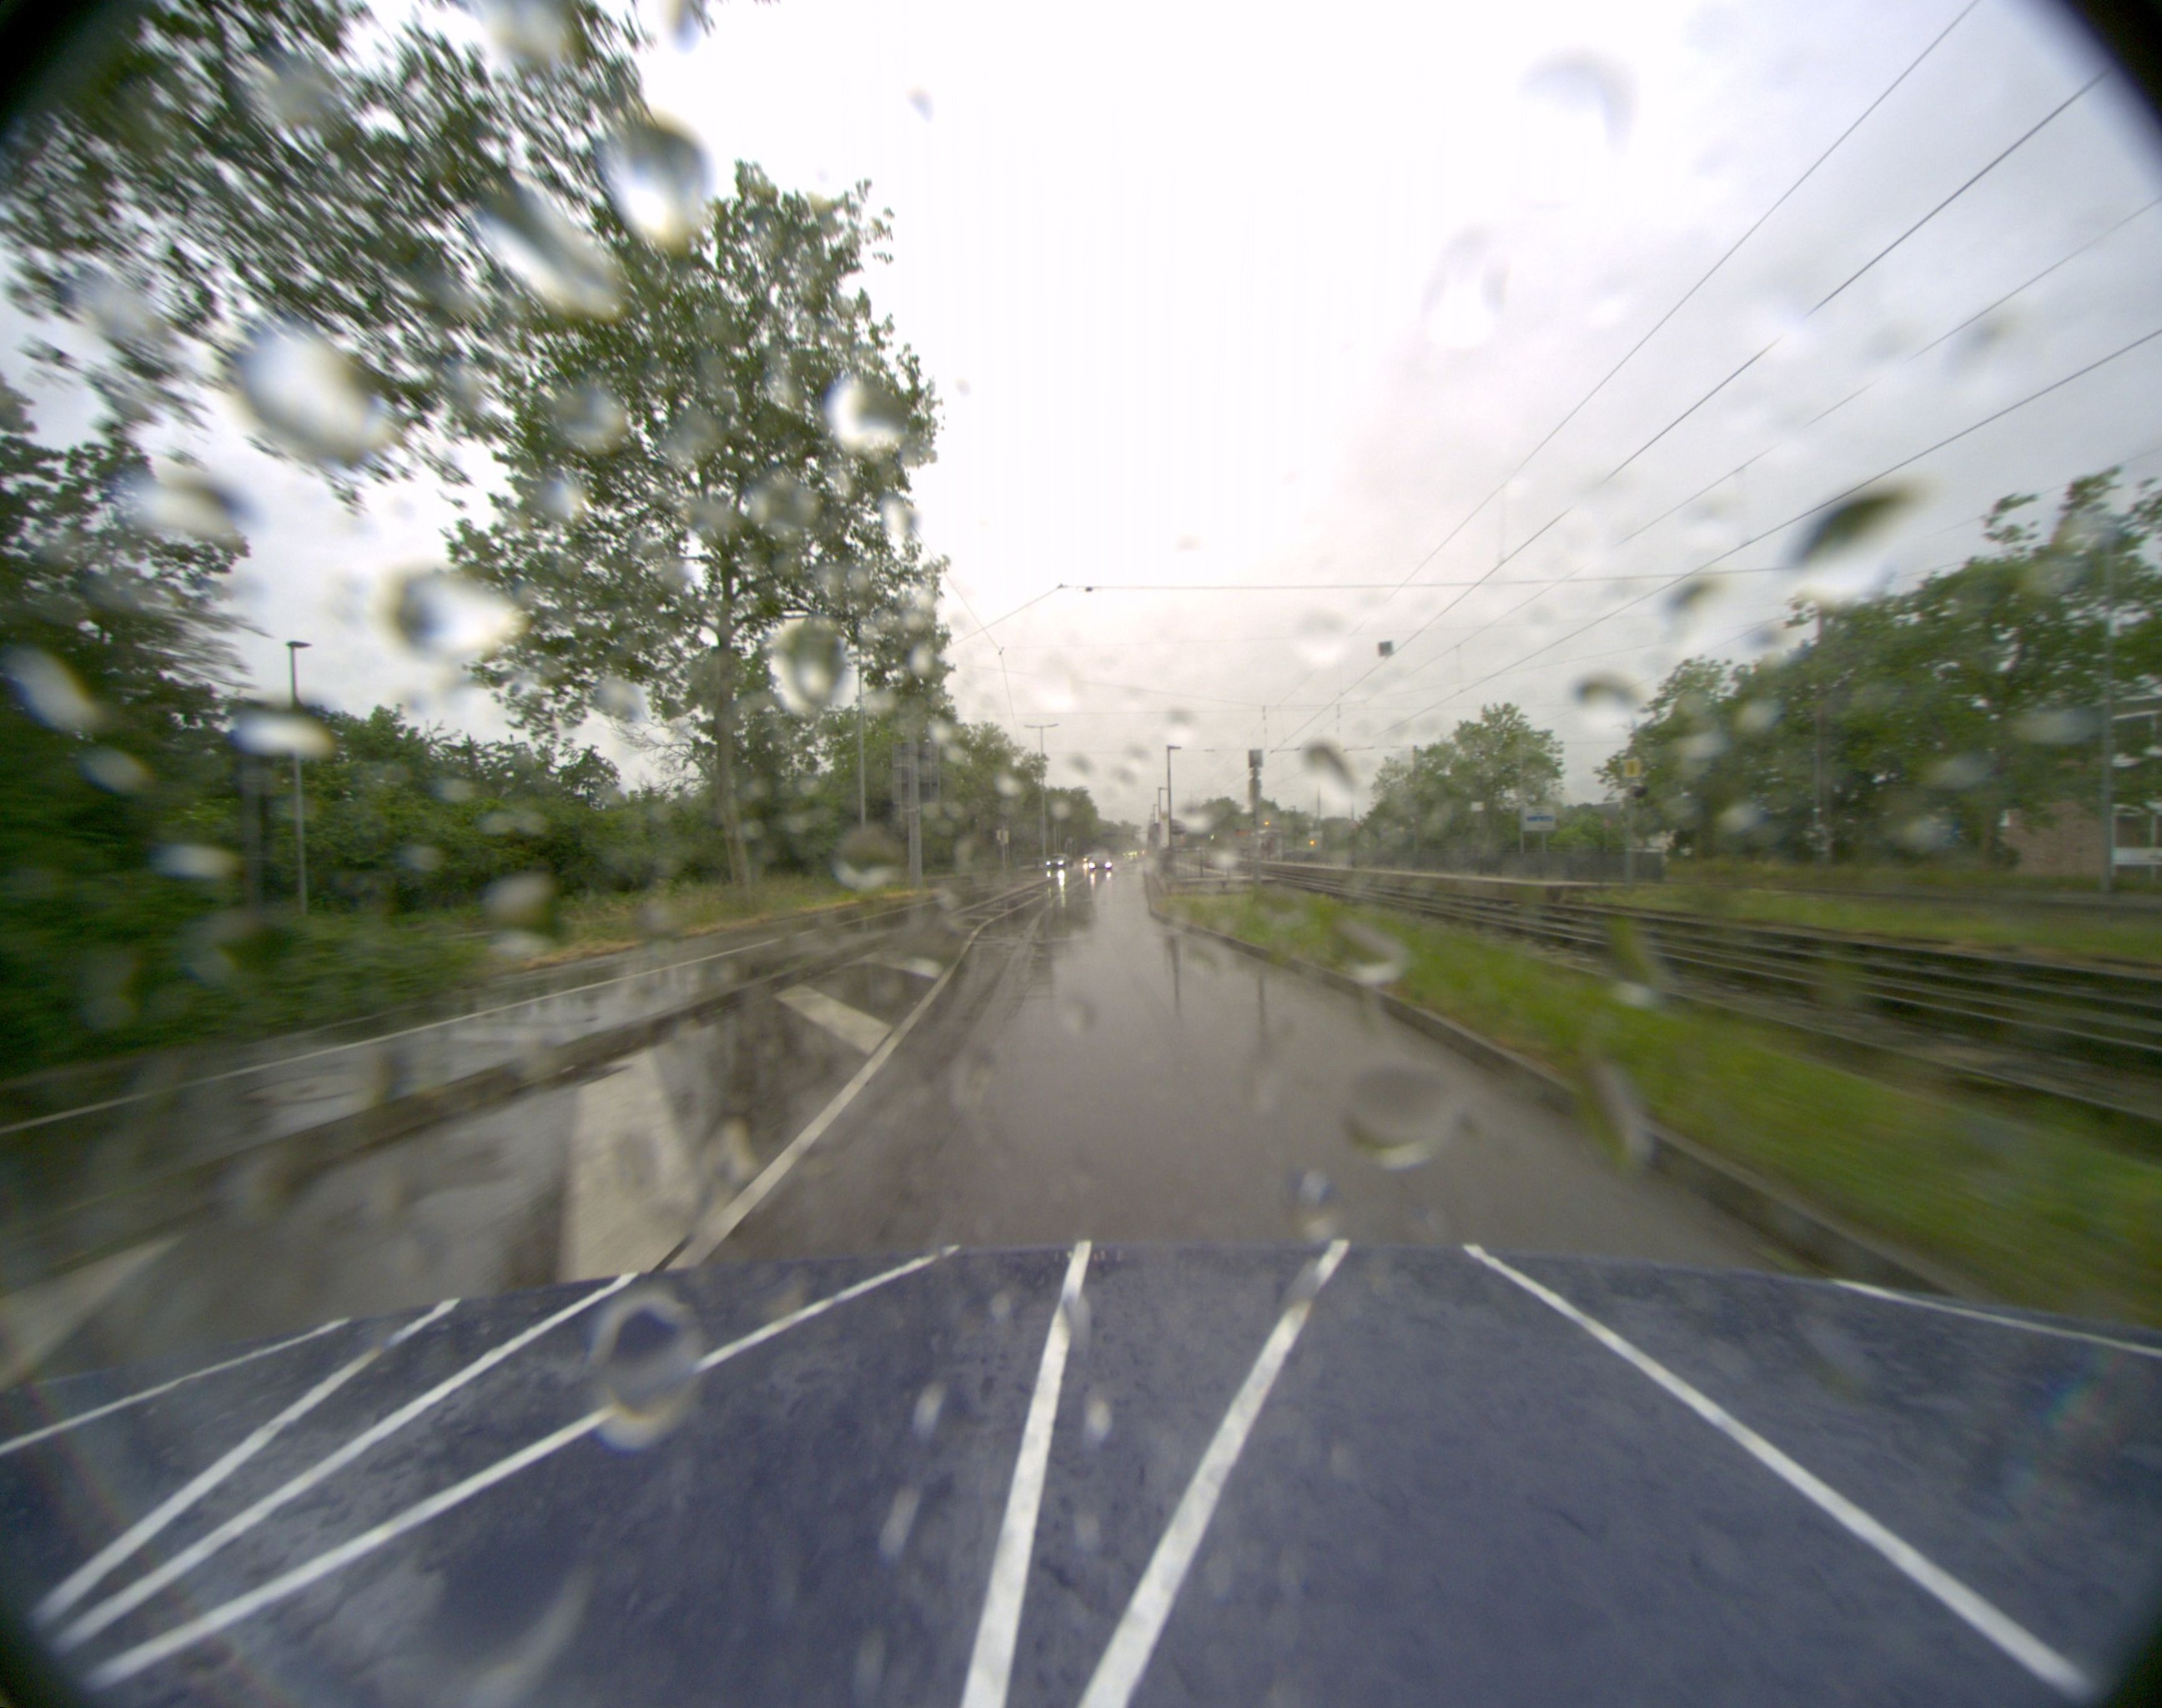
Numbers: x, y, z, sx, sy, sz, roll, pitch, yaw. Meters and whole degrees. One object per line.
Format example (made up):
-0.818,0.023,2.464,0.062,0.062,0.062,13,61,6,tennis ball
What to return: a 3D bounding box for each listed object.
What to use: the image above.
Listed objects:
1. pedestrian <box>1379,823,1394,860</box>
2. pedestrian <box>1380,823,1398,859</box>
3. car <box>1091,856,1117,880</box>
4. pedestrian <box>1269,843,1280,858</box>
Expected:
33.267,-1.395,82.759,1.169,4.006,1.522,-1,2,32,pedestrian
34.704,-1.494,85.617,1.172,4.006,1.518,-2,2,-6,pedestrian
2.058,1.229,67.966,1.998,2.002,4.001,-2,1,5,car
17.907,-0.305,70.221,0.833,1.309,0.858,-3,1,5,pedestrian
